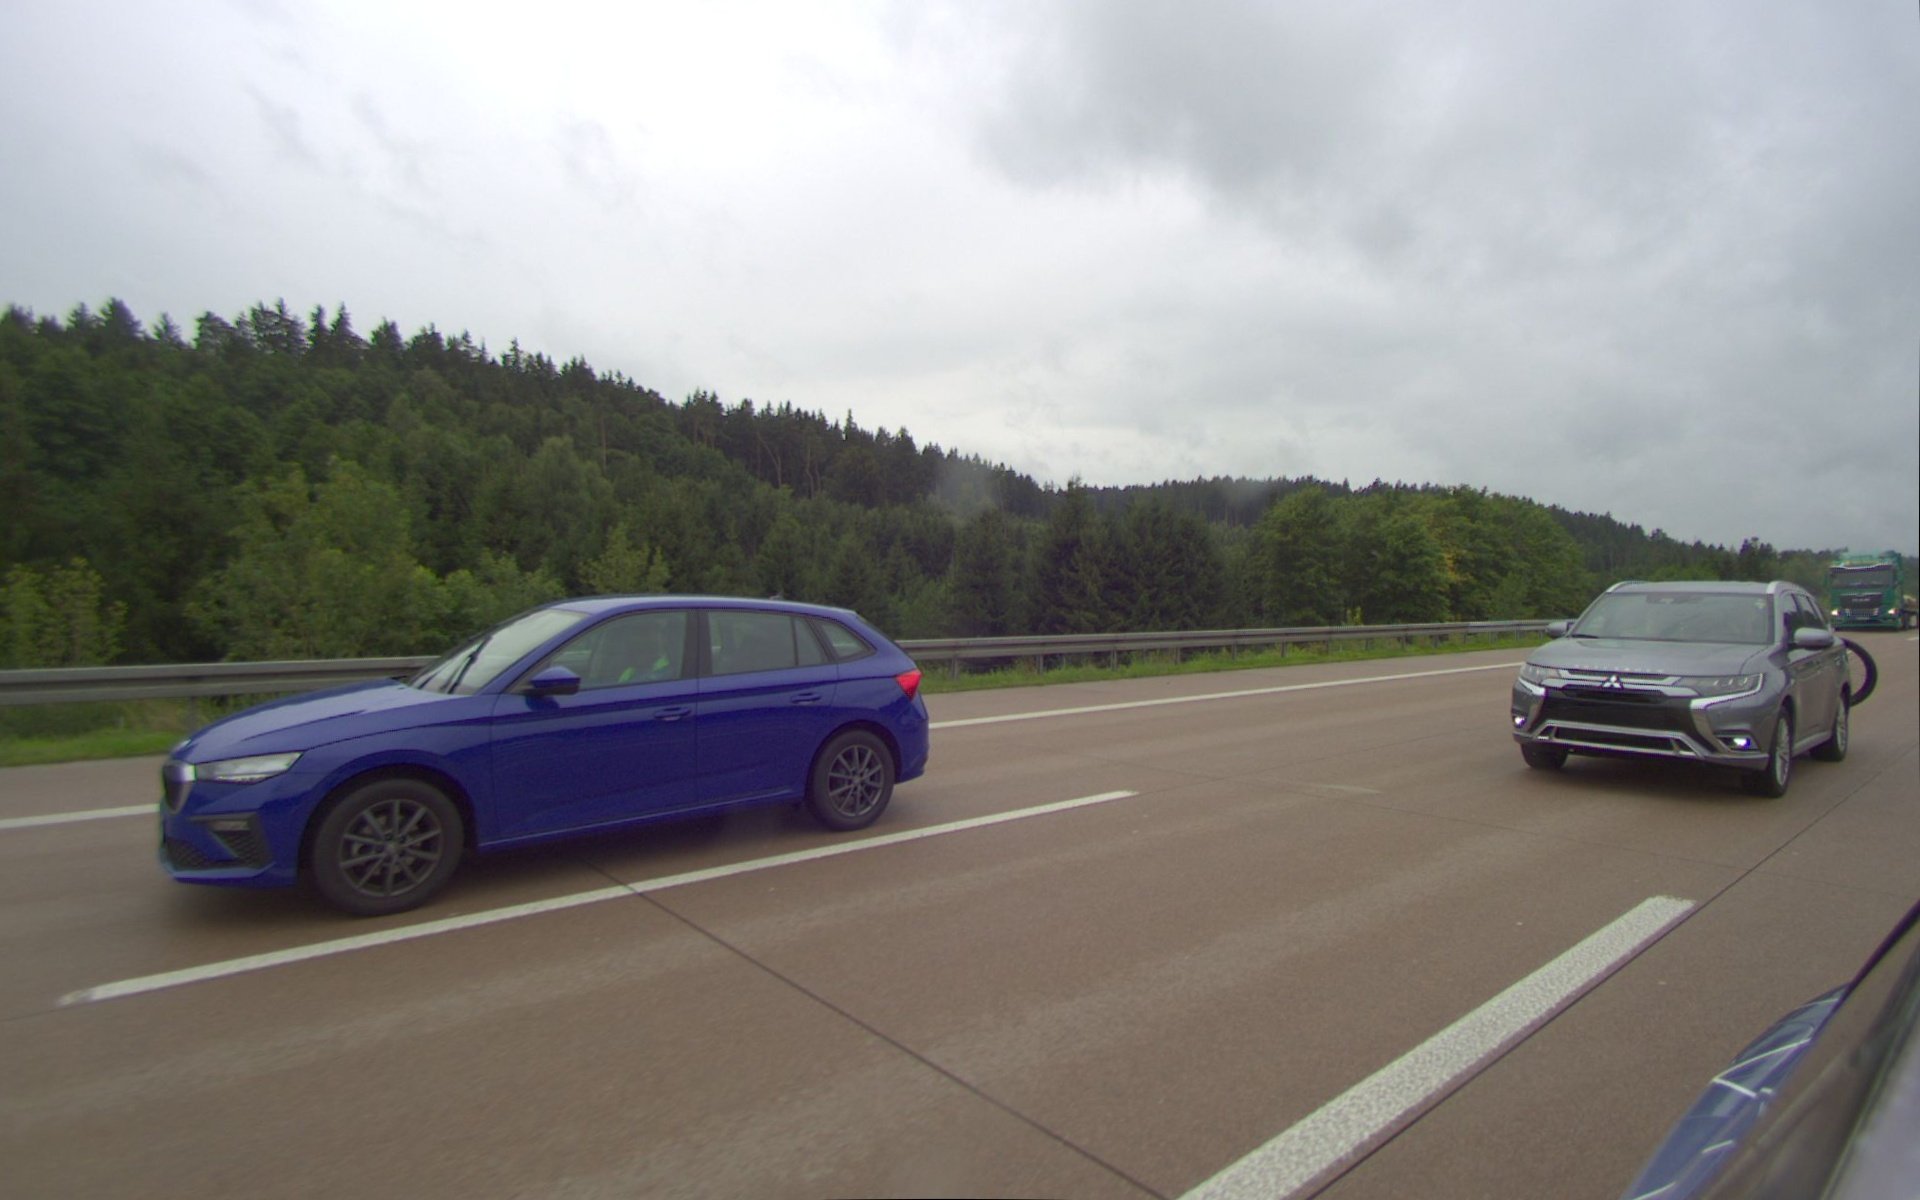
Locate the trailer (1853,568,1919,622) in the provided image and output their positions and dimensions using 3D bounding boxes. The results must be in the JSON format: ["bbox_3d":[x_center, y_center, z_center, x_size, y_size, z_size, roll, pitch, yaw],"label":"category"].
[{"bbox_3d":[51.141,-0.351,55.022,11.209,2.709,2.884,-1,1,-43],"label":"trailer"}]

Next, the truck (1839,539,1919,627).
[{"bbox_3d":[45.487,-0.847,49.654,6.873,4.014,2.899,-2,1,-44],"label":"truck"}]

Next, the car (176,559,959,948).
[{"bbox_3d":[-2.116,0.572,6.142,4.075,1.583,1.774,-2,1,-41],"label":"car"}]

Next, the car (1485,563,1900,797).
[{"bbox_3d":[7.207,0.486,9.634,5.720,1.612,1.996,-2,1,-41],"label":"car"}]
